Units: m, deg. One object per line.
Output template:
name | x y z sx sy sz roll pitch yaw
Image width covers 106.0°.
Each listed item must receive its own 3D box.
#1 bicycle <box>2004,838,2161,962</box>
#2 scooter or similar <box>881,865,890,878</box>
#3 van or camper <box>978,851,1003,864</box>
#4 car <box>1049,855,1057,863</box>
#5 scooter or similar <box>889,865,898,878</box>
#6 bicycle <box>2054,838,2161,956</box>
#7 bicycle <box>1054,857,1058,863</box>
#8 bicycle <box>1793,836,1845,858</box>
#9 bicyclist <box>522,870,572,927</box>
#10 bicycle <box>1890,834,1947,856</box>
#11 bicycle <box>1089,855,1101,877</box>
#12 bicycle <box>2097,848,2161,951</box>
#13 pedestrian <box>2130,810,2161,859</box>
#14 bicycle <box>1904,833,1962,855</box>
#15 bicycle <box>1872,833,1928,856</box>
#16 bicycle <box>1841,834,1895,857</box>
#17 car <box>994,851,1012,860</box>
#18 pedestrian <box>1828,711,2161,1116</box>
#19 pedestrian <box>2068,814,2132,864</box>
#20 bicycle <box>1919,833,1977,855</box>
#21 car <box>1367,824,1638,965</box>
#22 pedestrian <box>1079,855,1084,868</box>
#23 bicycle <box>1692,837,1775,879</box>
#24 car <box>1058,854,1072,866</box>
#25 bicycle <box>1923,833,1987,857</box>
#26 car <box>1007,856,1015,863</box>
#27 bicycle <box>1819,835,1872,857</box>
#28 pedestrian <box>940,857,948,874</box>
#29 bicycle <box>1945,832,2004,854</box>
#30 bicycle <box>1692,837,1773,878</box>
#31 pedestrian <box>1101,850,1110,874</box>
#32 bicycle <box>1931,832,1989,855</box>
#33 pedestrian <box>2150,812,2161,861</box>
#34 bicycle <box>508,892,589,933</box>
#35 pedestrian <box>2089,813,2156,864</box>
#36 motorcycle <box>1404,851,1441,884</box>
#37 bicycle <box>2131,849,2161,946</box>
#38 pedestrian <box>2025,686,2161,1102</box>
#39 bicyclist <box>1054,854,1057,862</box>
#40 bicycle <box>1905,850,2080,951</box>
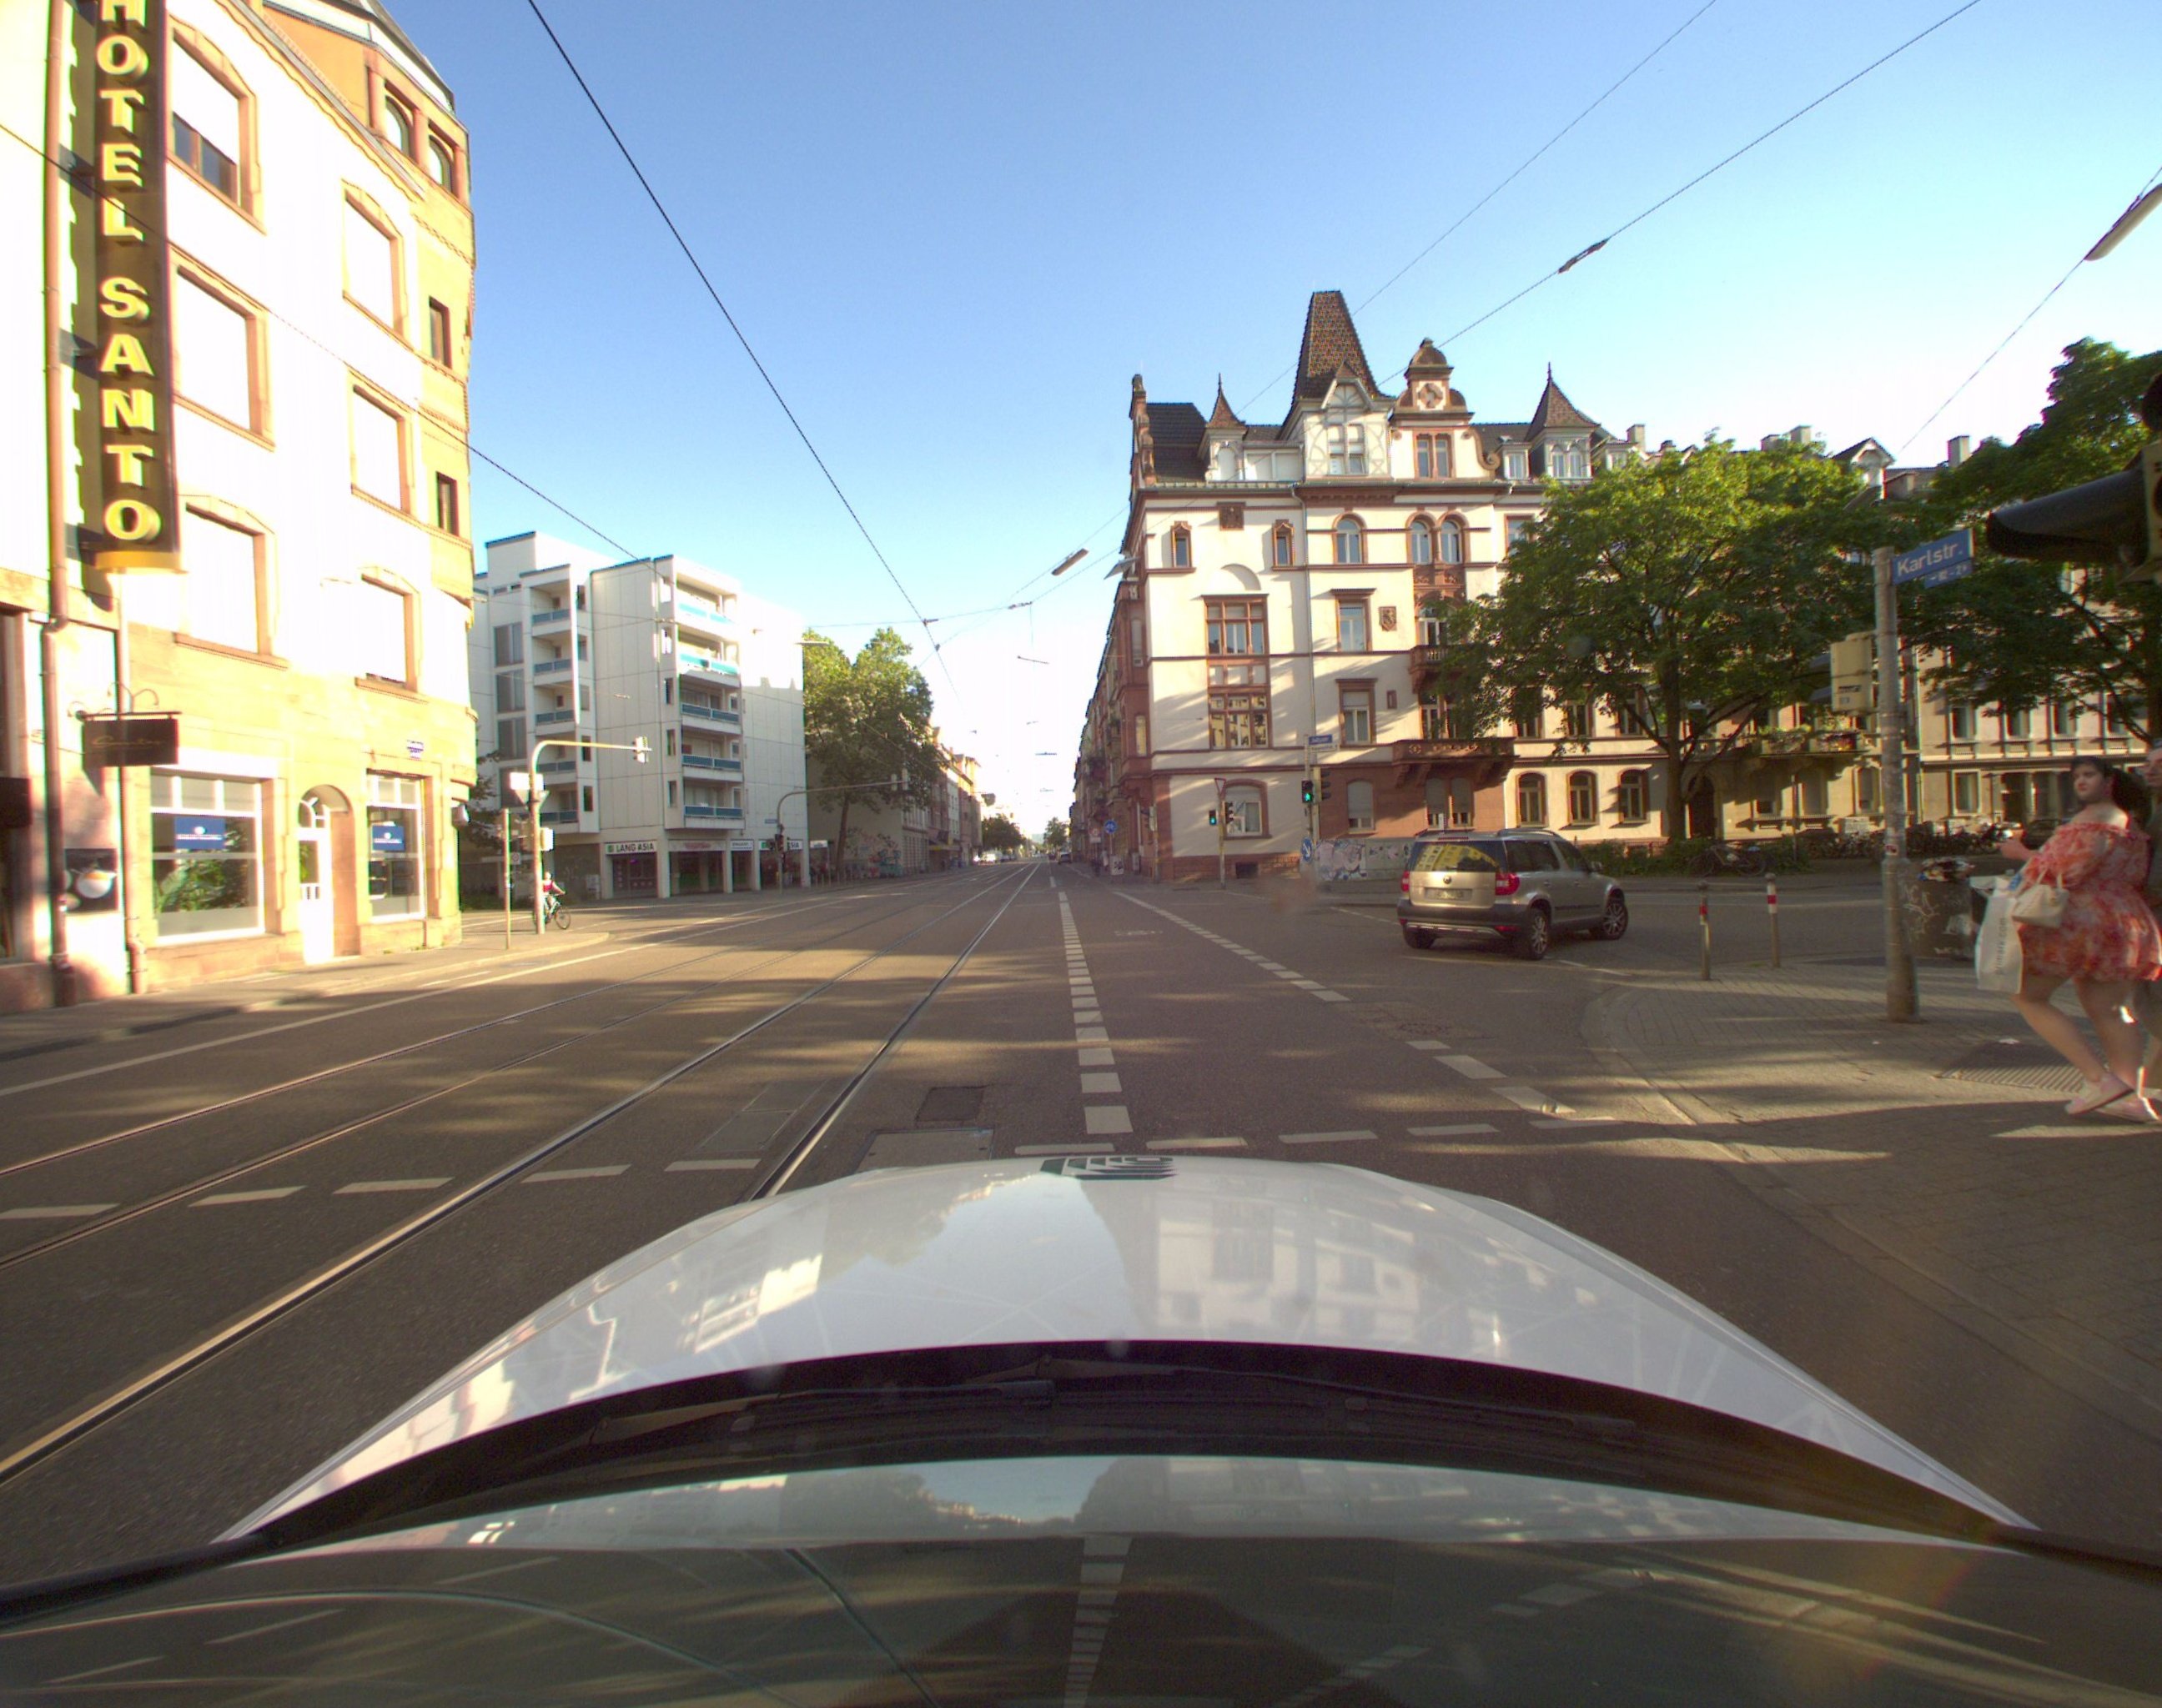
bicycle | 10.977 0.459 8.491 0.502 1.223 1.921 -2 -2 2
scooter or similar | -16.541 1.507 68.977 0.515 1.045 1.476 -2 0 -4
van or camper | -18.620 0.769 167.708 4.668 2.563 1.979 -1 -1 -33
car | -6.617 1.155 192.688 1.989 1.728 3.995 -2 -1 -3
scooter or similar | -15.893 1.481 69.045 0.515 1.057 1.476 -2 0 -4
bicycle | 11.494 0.442 8.461 0.447 1.223 1.921 -2 -2 2
bicycle | -4.980 1.188 161.710 0.573 1.030 1.894 -2 0 -1
bicycle | 30.641 -0.280 33.833 0.490 0.893 1.797 -2 0 0
bicyclist | -15.954 1.318 24.340 0.984 1.643 0.703 -3 -1 -2
bicycle | 35.038 -0.372 34.104 0.490 0.893 1.797 -2 0 0
bicycle | 0.847 0.709 49.337 0.651 1.323 2.176 -2 0 0
bicycle | 12.010 0.484 8.627 0.447 1.111 1.612 -2 -2 2
pedestrian | 32.693 -0.605 24.604 0.903 1.428 0.770 -6 -2 30
bicycle | 35.710 -0.395 34.161 0.490 0.893 1.797 -2 0 0
bicycle | 34.088 -0.391 33.918 0.490 0.893 1.797 -2 0 0
bicycle | 32.588 -0.345 33.761 0.490 0.893 1.797 -2 0 0
car | -19.532 0.384 203.135 4.009 2.013 1.982 -2 0 -27
pedestrian | 4.557 0.286 4.097 0.799 1.799 0.765 -6 1 17
pedestrian | 31.633 -0.457 25.289 0.903 1.428 0.770 -6 -2 30
bicycle | 36.381 -0.416 34.200 0.490 0.893 1.797 -2 0 0
car | 6.149 0.429 11.733 4.020 1.618 1.977 -3 2 -38
pedestrian | 0.083 0.985 108.260 0.543 1.780 0.749 -2 0 -2
bicycle | 19.374 0.121 24.226 1.840 1.161 0.563 -3 1 35
car | -2.283 0.855 118.556 1.944 1.684 3.998 -2 0 -1
bicycle | 35.234 -0.352 32.846 1.779 0.893 0.495 -2 0 12
car | -19.665 1.537 229.993 1.989 2.013 3.995 -2 0 -3
bicycle | 31.707 -0.316 33.798 0.490 0.893 1.797 -2 0 0
pedestrian | -14.226 1.194 84.693 0.699 1.728 0.647 -2 0 -3
bicycle | 37.567 -0.454 34.275 0.490 0.893 1.797 -2 0 0
bicycle | 19.729 0.115 24.716 1.840 1.161 0.563 -3 1 35
pedestrian | 1.812 0.593 59.844 0.543 1.780 0.503 -2 0 -2
bicycle | 36.907 -0.433 34.213 0.490 0.893 1.797 -2 0 0
pedestrian | 32.045 -0.557 23.635 0.903 1.428 0.770 -6 -2 31
bicycle | -15.890 1.742 24.328 1.887 1.109 0.698 -2 0 -3
pedestrian | 31.147 -0.451 24.364 0.903 1.428 0.770 -6 -2 31
motorcycle | 12.254 0.456 29.287 0.715 1.020 2.293 -2 2 9
bicycle | 12.522 0.473 8.565 0.447 1.099 1.921 -2 -2 2
pedestrian | 5.284 0.155 3.859 0.685 1.908 0.673 -6 1 17
bicyclist | -5.000 0.775 161.707 0.573 1.554 0.594 -2 0 -1
bicycle | 10.259 0.512 9.221 0.773 1.045 1.065 -2 -2 7
